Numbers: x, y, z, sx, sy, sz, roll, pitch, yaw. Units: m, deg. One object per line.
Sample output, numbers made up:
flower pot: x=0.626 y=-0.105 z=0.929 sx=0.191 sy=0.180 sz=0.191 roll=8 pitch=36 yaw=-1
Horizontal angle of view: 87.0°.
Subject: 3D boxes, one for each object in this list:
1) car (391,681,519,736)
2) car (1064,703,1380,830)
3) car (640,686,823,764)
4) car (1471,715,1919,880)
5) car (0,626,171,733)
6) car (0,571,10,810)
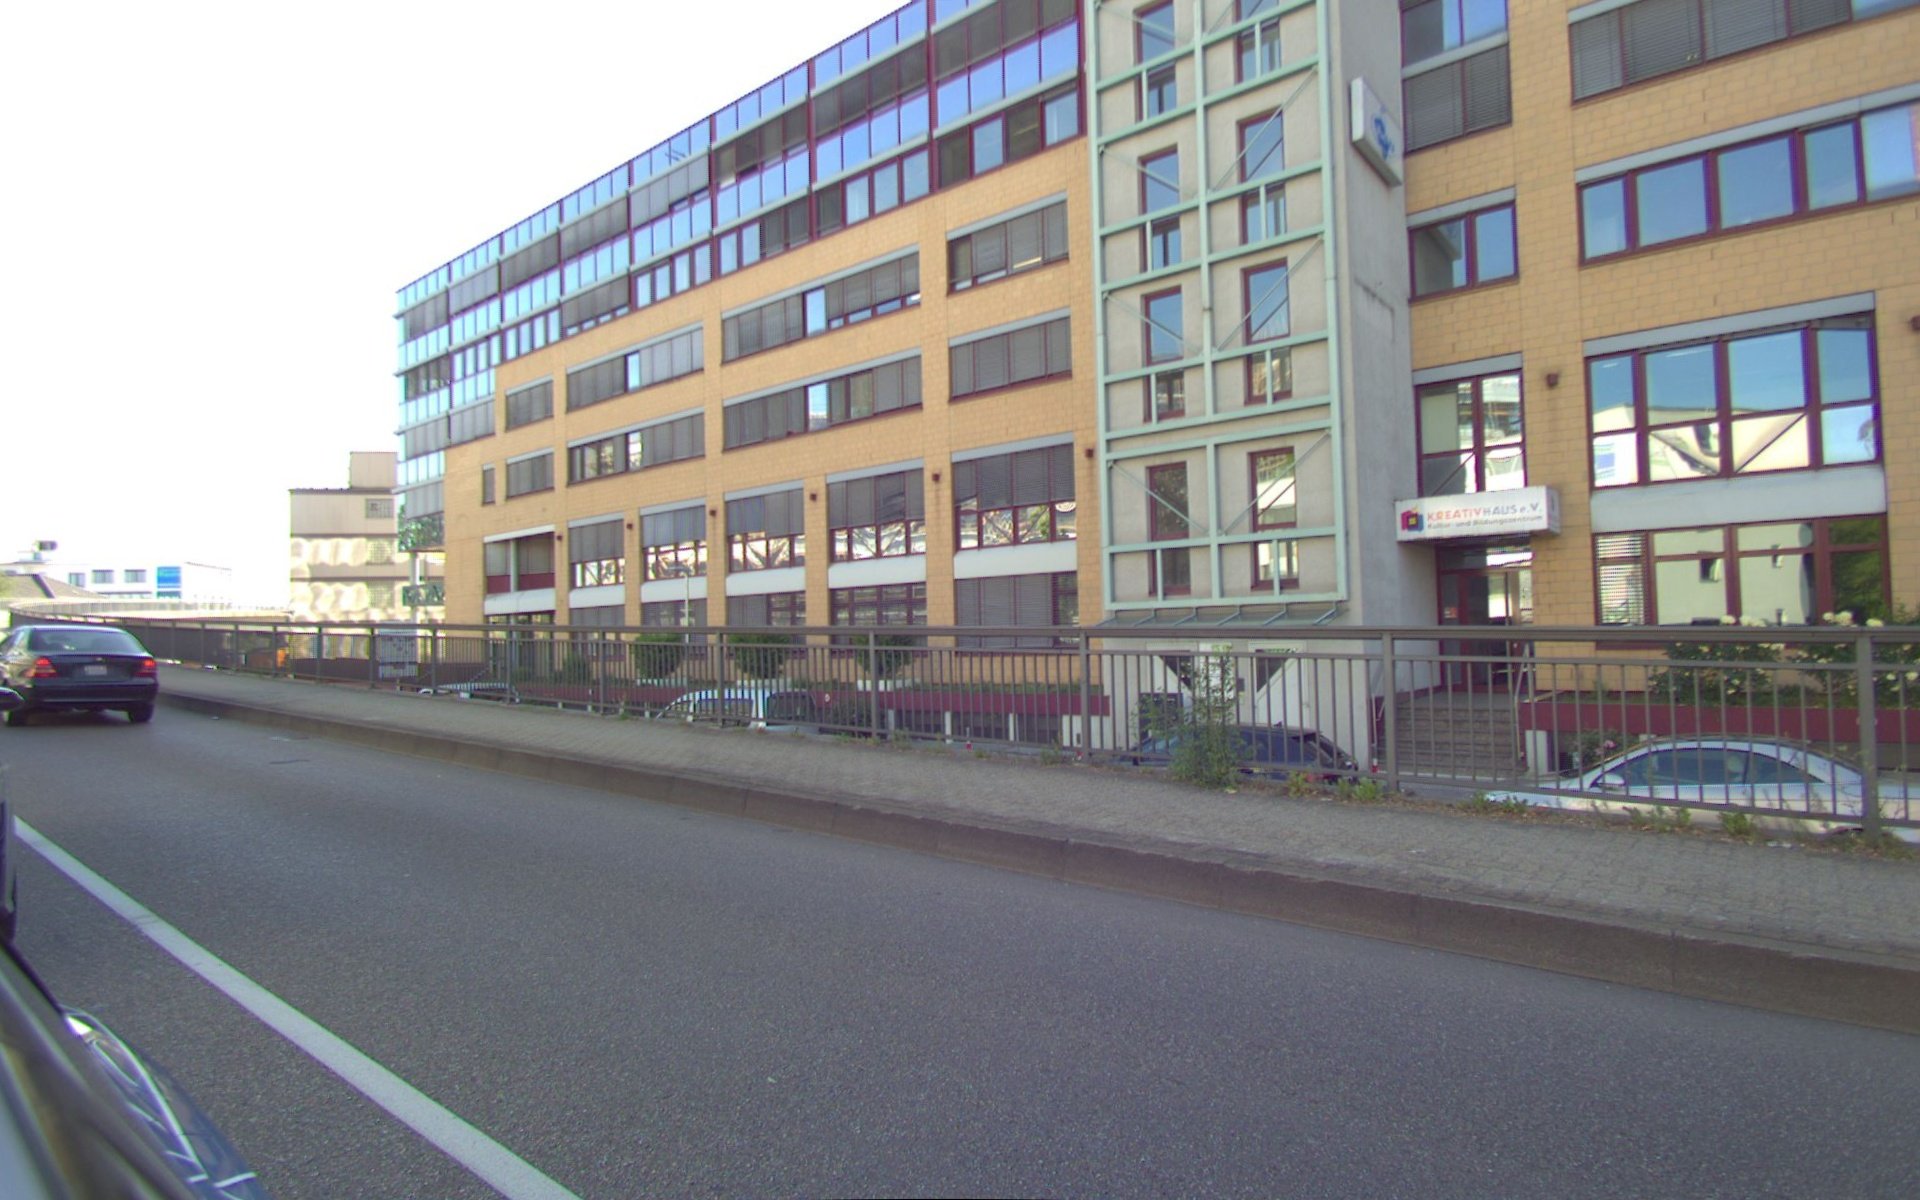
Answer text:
car: x=-13.820 y=2.917 z=27.621 sx=3.805 sy=1.279 sz=1.744 roll=-3 pitch=-4 yaw=39
car: x=3.410 y=2.114 z=13.557 sx=3.805 sy=1.279 sz=1.560 roll=-3 pitch=-4 yaw=40
car: x=-4.593 y=2.416 z=20.123 sx=3.805 sy=1.279 sz=1.560 roll=-3 pitch=-4 yaw=40
car: x=7.687 y=1.878 z=10.203 sx=4.254 sy=1.175 sz=1.704 roll=-3 pitch=-4 yaw=40
car: x=-13.797 y=1.140 z=15.495 sx=4.195 sy=1.418 sz=1.725 roll=-2 pitch=-3 yaw=38
car: x=-5.842 y=0.758 z=4.655 sx=3.998 sy=1.660 sz=1.726 roll=-3 pitch=-4 yaw=41
